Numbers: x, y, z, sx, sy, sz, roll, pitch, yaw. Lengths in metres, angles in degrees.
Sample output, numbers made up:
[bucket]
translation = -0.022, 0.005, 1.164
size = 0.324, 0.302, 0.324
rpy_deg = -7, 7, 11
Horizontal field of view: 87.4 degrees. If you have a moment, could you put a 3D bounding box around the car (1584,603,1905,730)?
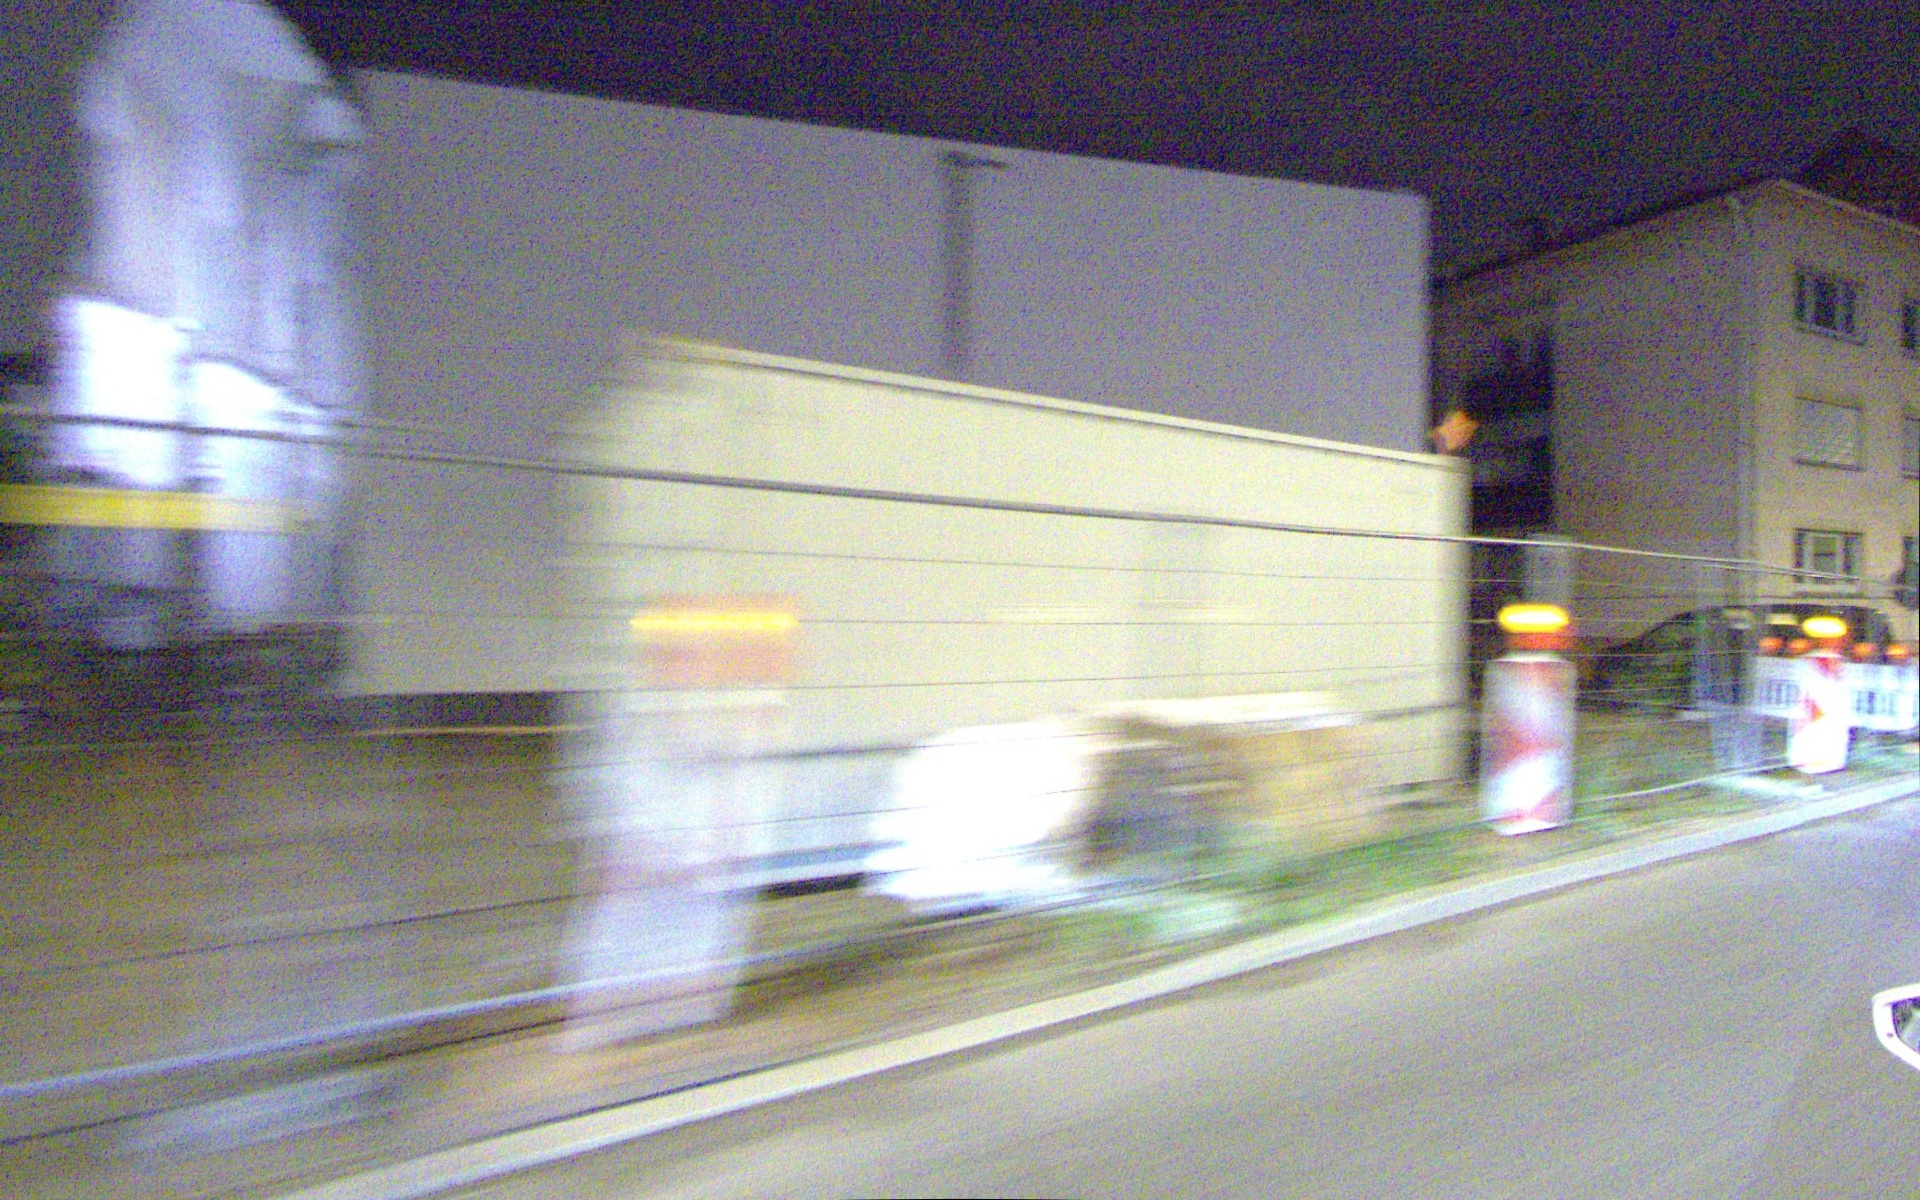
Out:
[car]
translation = 13.270, 1.052, 17.302
size = 1.880, 1.914, 3.981
rpy_deg = 2, -1, -20
